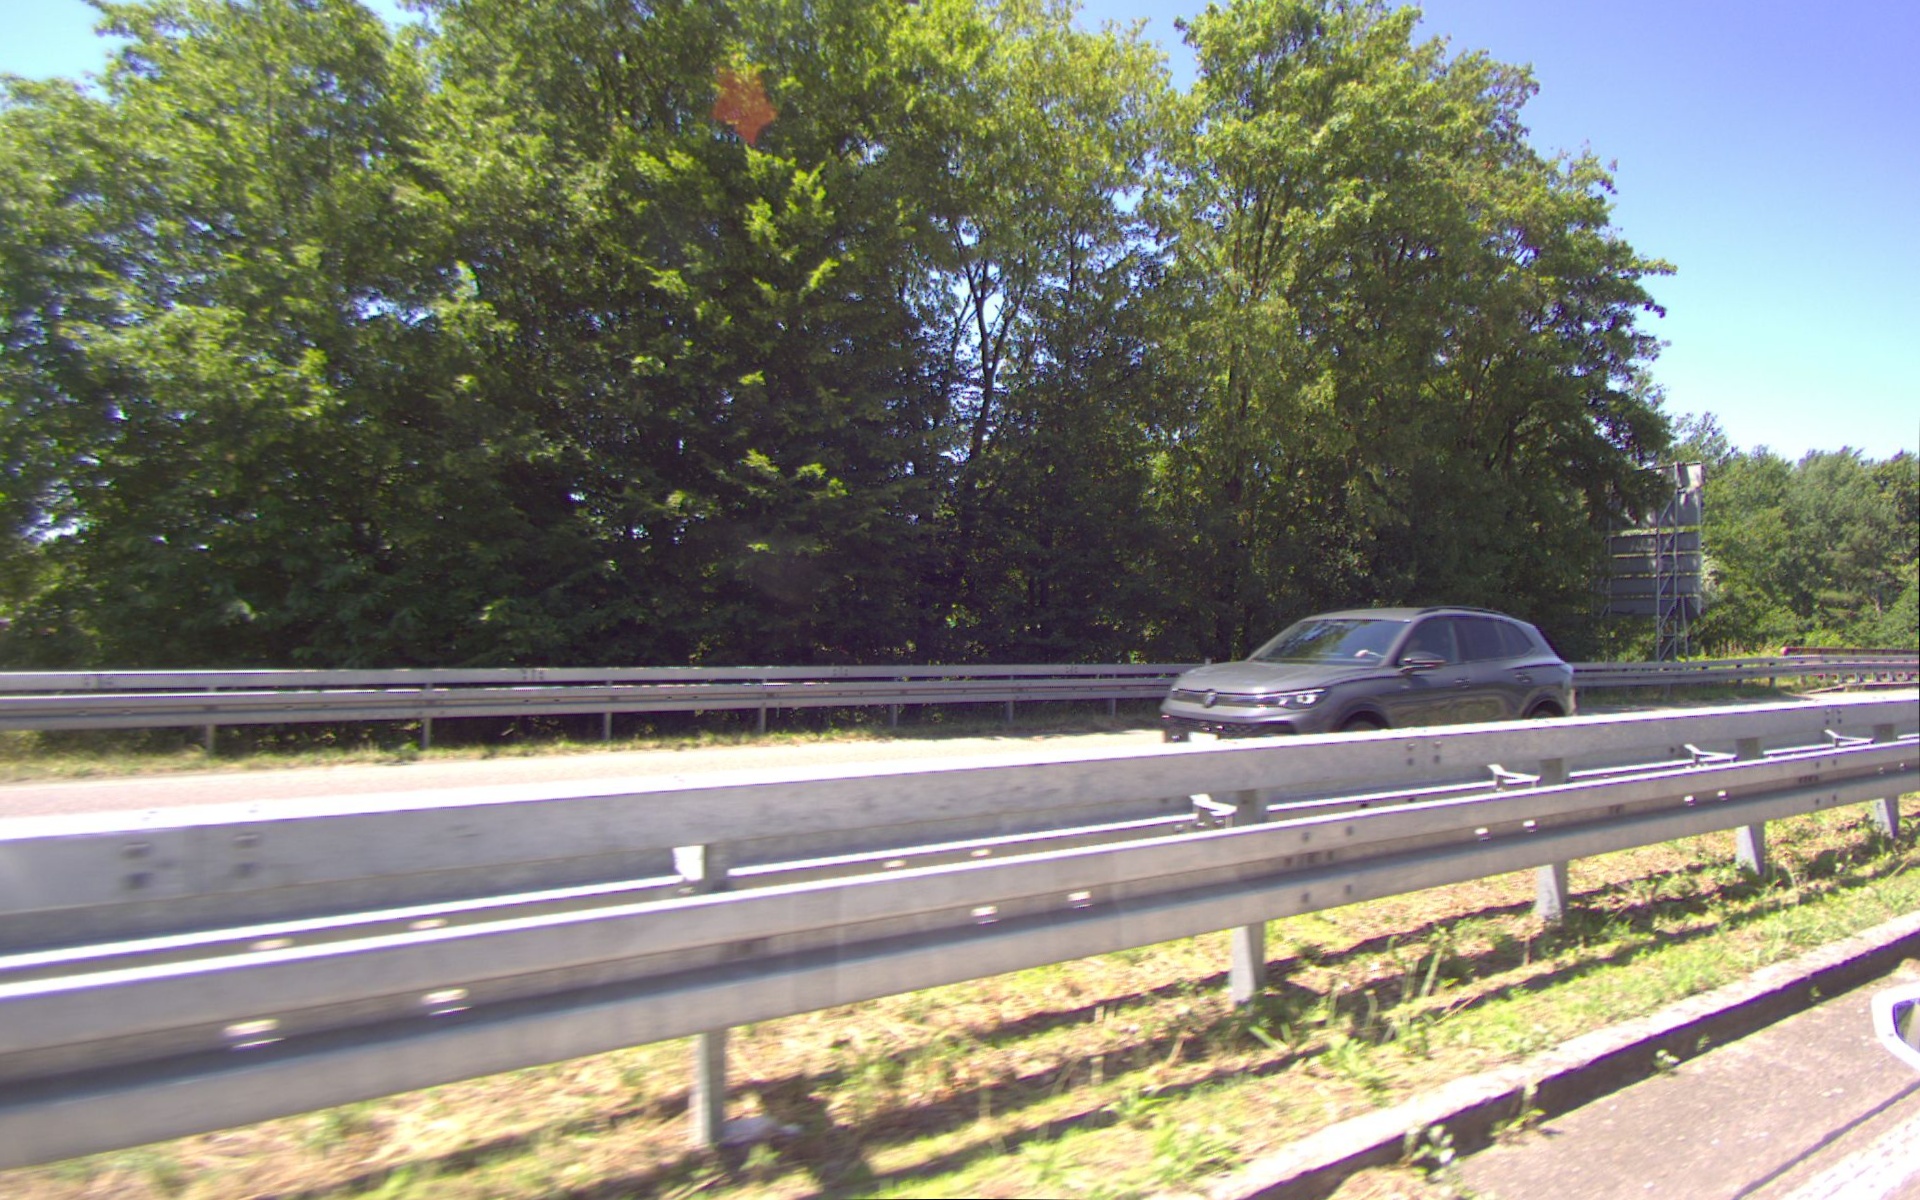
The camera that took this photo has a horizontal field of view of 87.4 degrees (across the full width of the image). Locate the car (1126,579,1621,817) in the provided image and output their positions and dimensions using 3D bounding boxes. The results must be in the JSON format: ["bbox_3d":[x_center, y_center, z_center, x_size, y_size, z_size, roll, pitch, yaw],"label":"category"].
[{"bbox_3d":[4.063,0.826,9.708,4.691,1.817,1.985,1,-2,-30],"label":"car"}]
